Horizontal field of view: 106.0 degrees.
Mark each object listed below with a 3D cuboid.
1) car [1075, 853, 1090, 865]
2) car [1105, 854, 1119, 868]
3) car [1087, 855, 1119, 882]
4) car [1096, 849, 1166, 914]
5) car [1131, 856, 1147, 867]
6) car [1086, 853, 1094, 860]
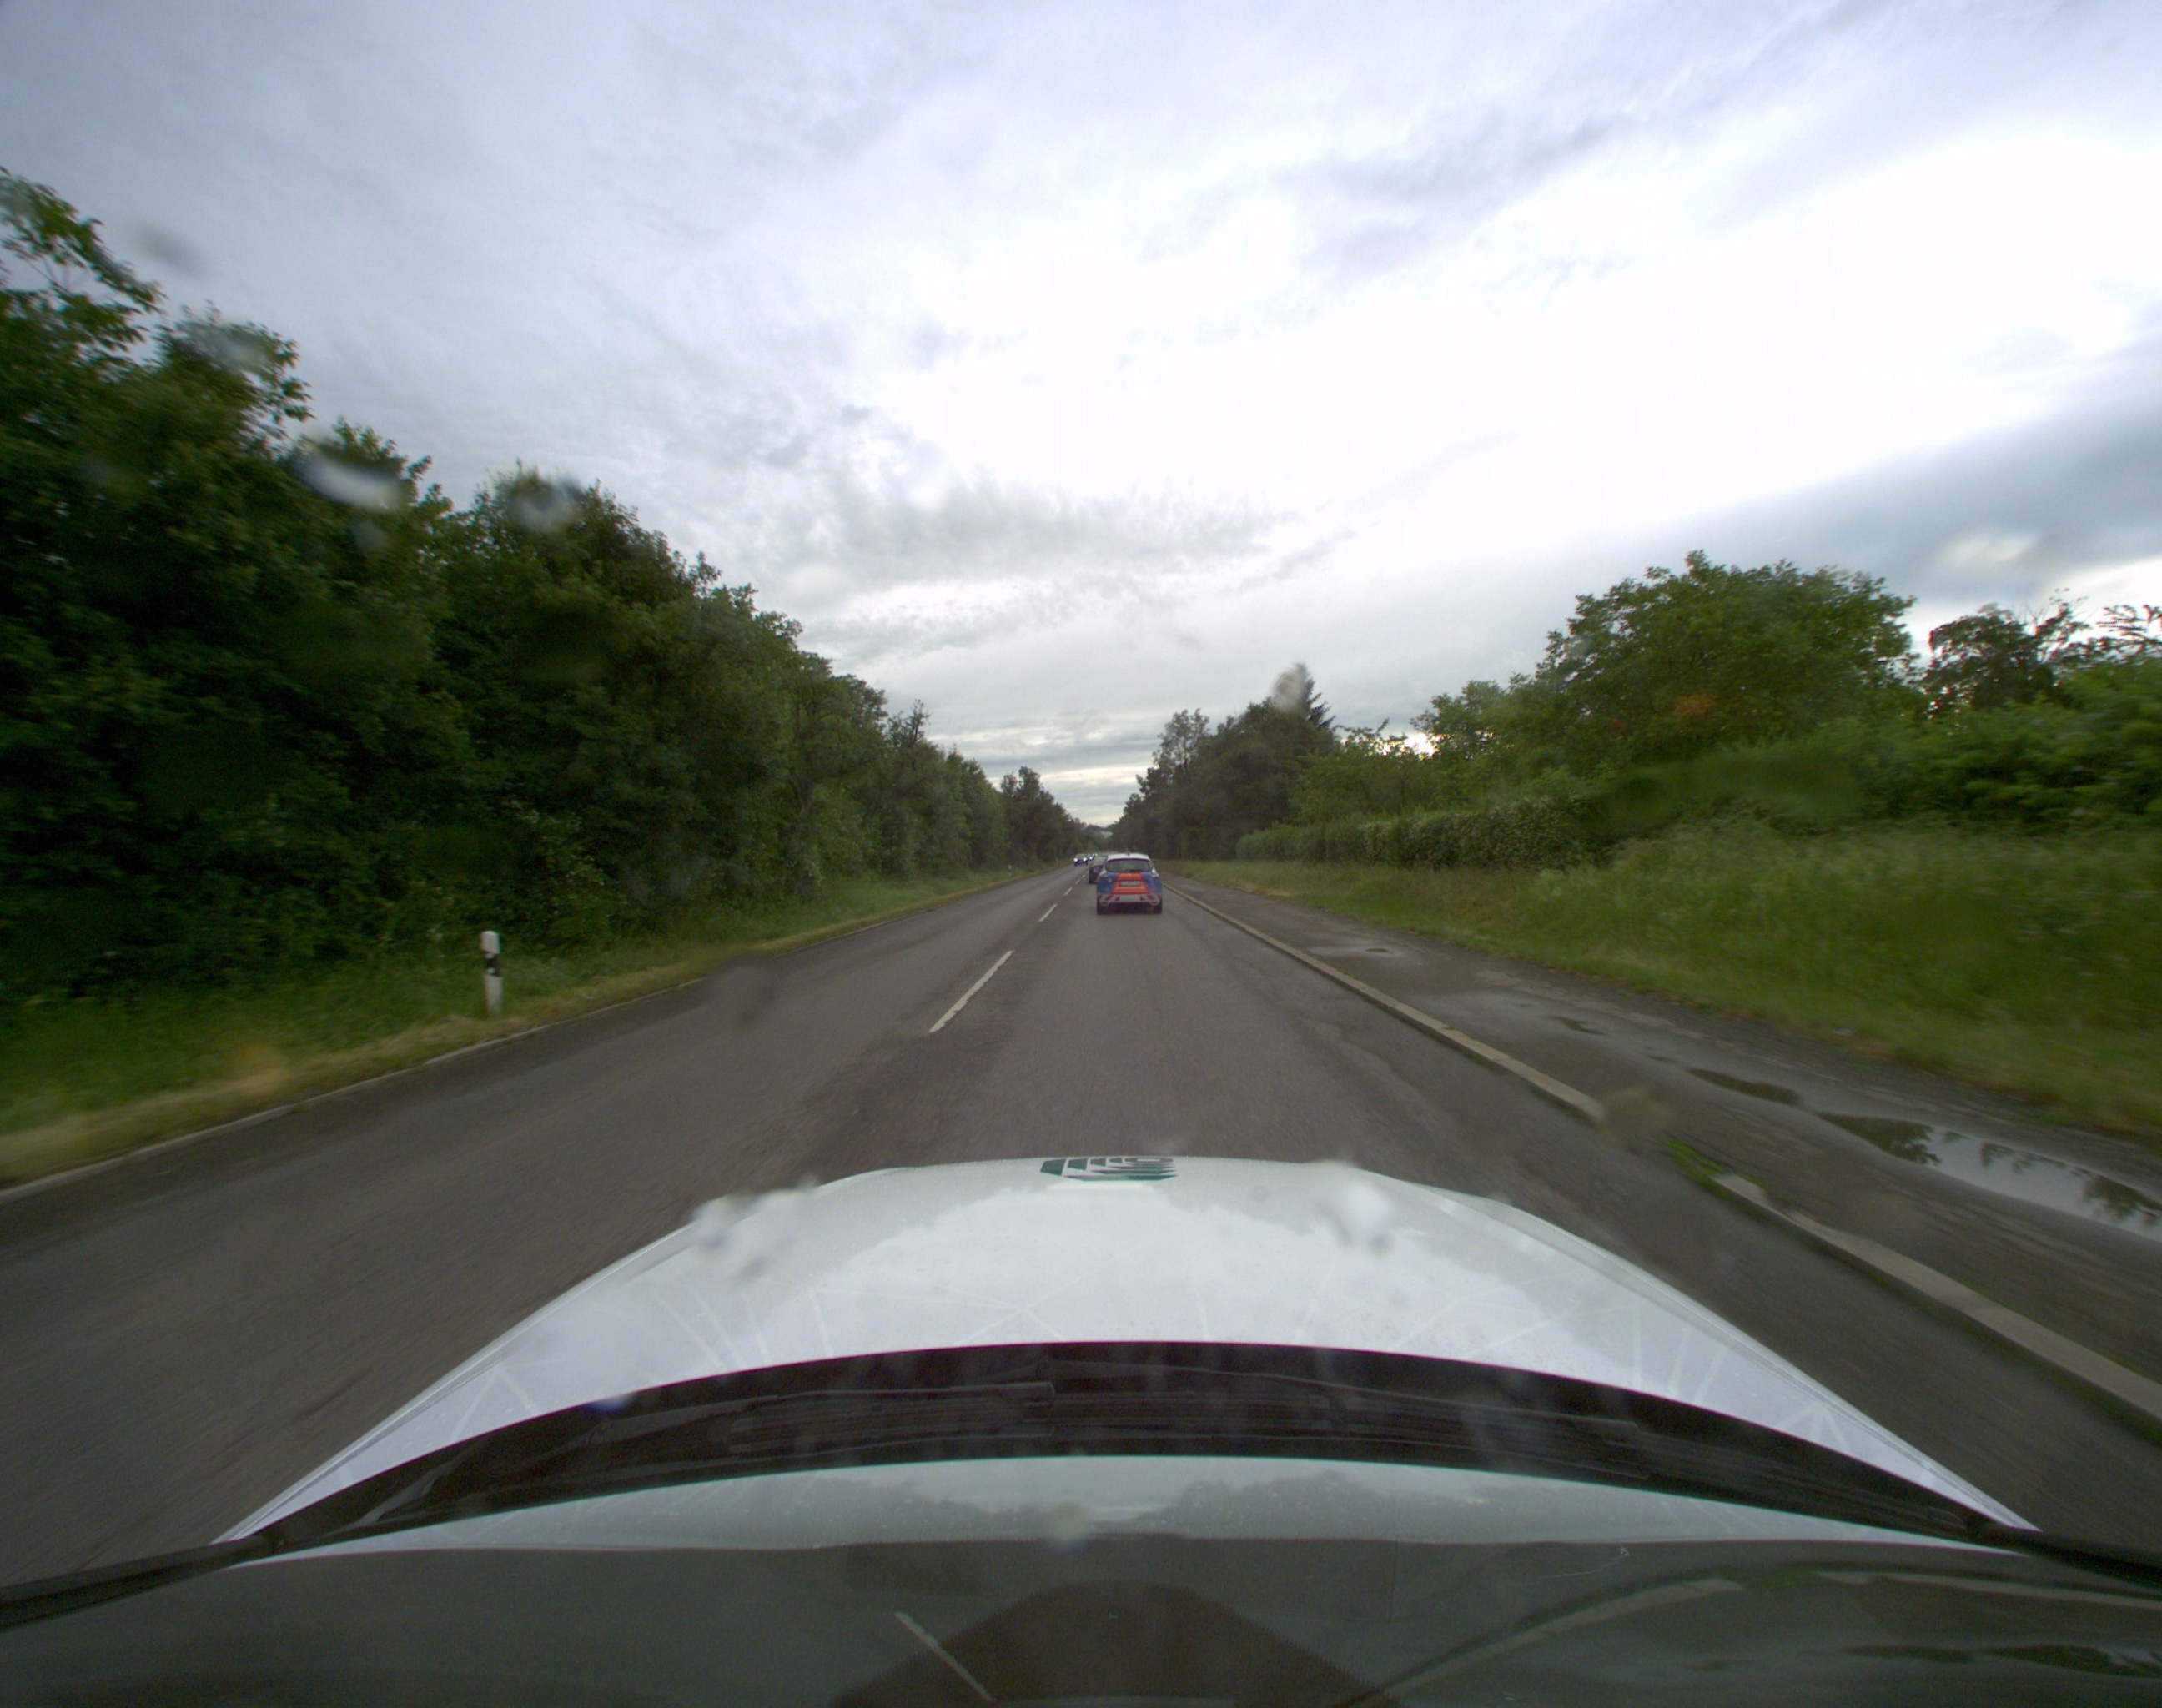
[{"bbox_3d":[0.262,0.636,114.596,1.898,1.556,4.519,-3,0,3],"label":"car"},{"bbox_3d":[4.047,0.881,106.698,1.782,1.720,4.002,-3,0,2],"label":"car"},{"bbox_3d":[1.183,0.741,42.921,1.592,1.287,3.478,-3,0,2],"label":"car"},{"bbox_3d":[1.316,0.677,22.345,1.745,1.555,3.794,-1,1,1],"label":"car"},{"bbox_3d":[8.155,0.999,114.923,1.986,1.376,4.002,-3,0,2],"label":"car"},{"bbox_3d":[1.882,0.557,168.458,1.704,1.399,4.151,-4,0,1],"label":"car"}]
